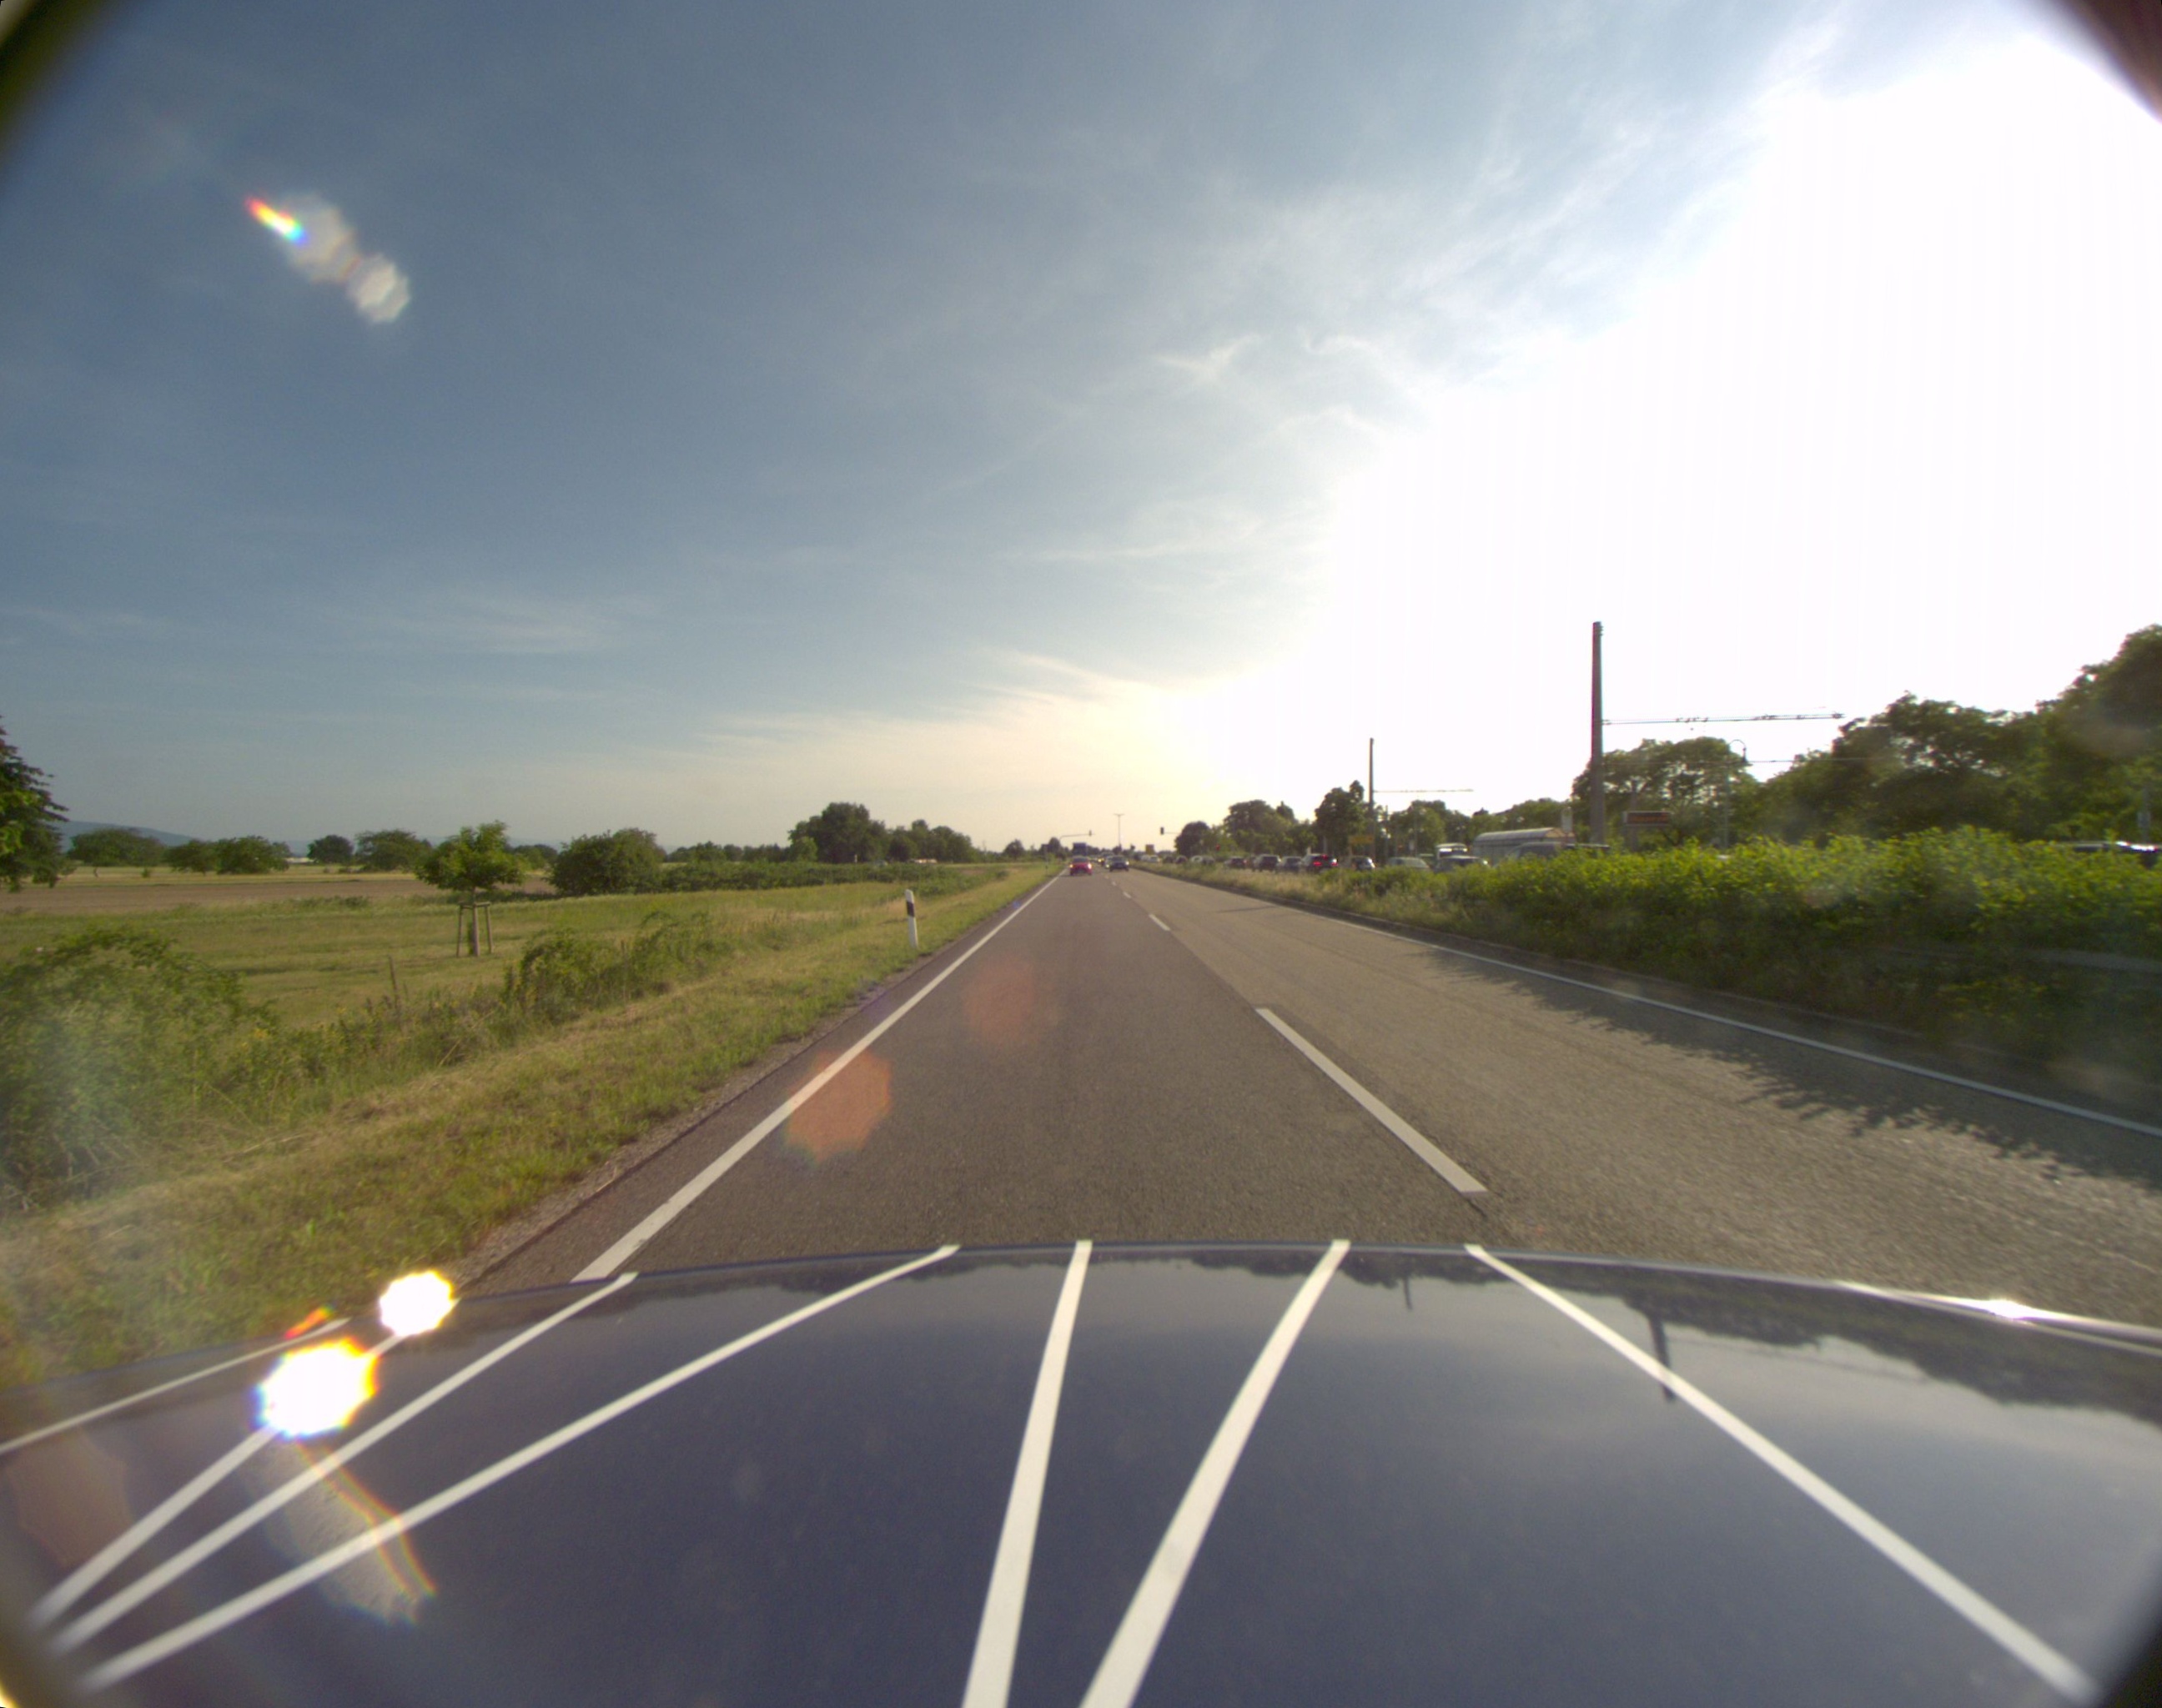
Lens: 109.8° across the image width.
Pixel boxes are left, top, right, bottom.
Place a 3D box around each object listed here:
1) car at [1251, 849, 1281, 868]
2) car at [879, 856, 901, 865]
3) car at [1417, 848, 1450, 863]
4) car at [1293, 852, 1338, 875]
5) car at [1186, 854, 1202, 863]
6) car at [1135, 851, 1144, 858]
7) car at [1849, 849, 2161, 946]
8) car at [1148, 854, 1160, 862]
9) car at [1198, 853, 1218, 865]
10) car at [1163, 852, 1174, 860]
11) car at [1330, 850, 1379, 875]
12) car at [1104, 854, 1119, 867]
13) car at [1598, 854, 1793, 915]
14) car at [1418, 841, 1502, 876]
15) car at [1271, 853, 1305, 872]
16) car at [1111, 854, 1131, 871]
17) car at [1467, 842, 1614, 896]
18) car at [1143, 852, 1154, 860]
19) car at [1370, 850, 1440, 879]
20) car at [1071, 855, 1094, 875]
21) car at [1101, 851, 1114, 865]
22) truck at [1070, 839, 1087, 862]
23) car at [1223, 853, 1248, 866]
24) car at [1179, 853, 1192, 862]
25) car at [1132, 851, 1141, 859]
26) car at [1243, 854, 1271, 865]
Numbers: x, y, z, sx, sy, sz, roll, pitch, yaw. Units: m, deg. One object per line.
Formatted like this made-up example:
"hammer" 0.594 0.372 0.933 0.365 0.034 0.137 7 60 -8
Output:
"car" 16.820 0.368 69.323 1.664 1.677 4.229 1 0 0
"car" -36.608 1.293 145.658 4.002 1.641 1.997 -2 0 -15
"car" 47.755 0.240 102.881 3.678 1.866 1.831 -2 0 -18
"car" 16.271 0.638 52.968 1.664 1.553 4.545 1 0 0
"car" 16.750 0.646 112.355 1.664 1.373 4.468 1 0 0
"car" 16.393 0.053 212.133 1.998 1.961 5.078 2 0 1
"car" 16.583 0.654 13.409 1.664 1.423 4.326 1 0 0
"car" 13.364 0.748 140.128 1.823 1.461 4.294 1 0 1
"car" 16.598 0.634 99.442 1.664 1.407 4.975 1 0 0
"car" 17.106 0.393 148.681 1.801 1.580 4.000 1 0 0
"car" 16.806 0.495 46.885 1.664 1.423 3.805 1 0 0
"car" 3.506 0.759 87.761 1.636 1.442 4.000 -2 0 1
"car" 16.425 0.741 20.658 1.664 1.423 4.448 1 0 0
"car" 16.627 0.168 33.542 1.664 1.423 4.056 1 0 0
"car" 16.551 0.683 60.886 1.664 1.423 3.805 1 0 0
"car" 3.726 0.793 70.933 1.636 1.500 4.000 -2 0 1
"car" 15.833 0.481 26.579 1.920 1.673 5.253 1 0 0
"car" 13.443 0.321 150.632 1.756 1.499 4.583 1 0 1
"car" 17.060 0.510 40.255 1.664 1.423 4.717 1 0 0
"car" 0.139 0.837 61.252 1.735 1.467 4.000 -2 0 1
"car" 3.675 0.486 104.673 1.636 1.833 4.000 -2 0 1
"truck" -0.387 -0.673 139.423 2.850 3.896 10.103 -2 0 1
"car" 16.538 0.583 81.561 1.664 1.373 4.541 1 0 0
"car" 17.740 0.561 129.118 1.664 1.373 4.000 1 0 0
"car" 13.249 0.184 181.250 1.862 1.735 4.529 1 0 1
"car" 33.851 0.976 146.202 4.844 1.876 2.253 -2 0 -5
